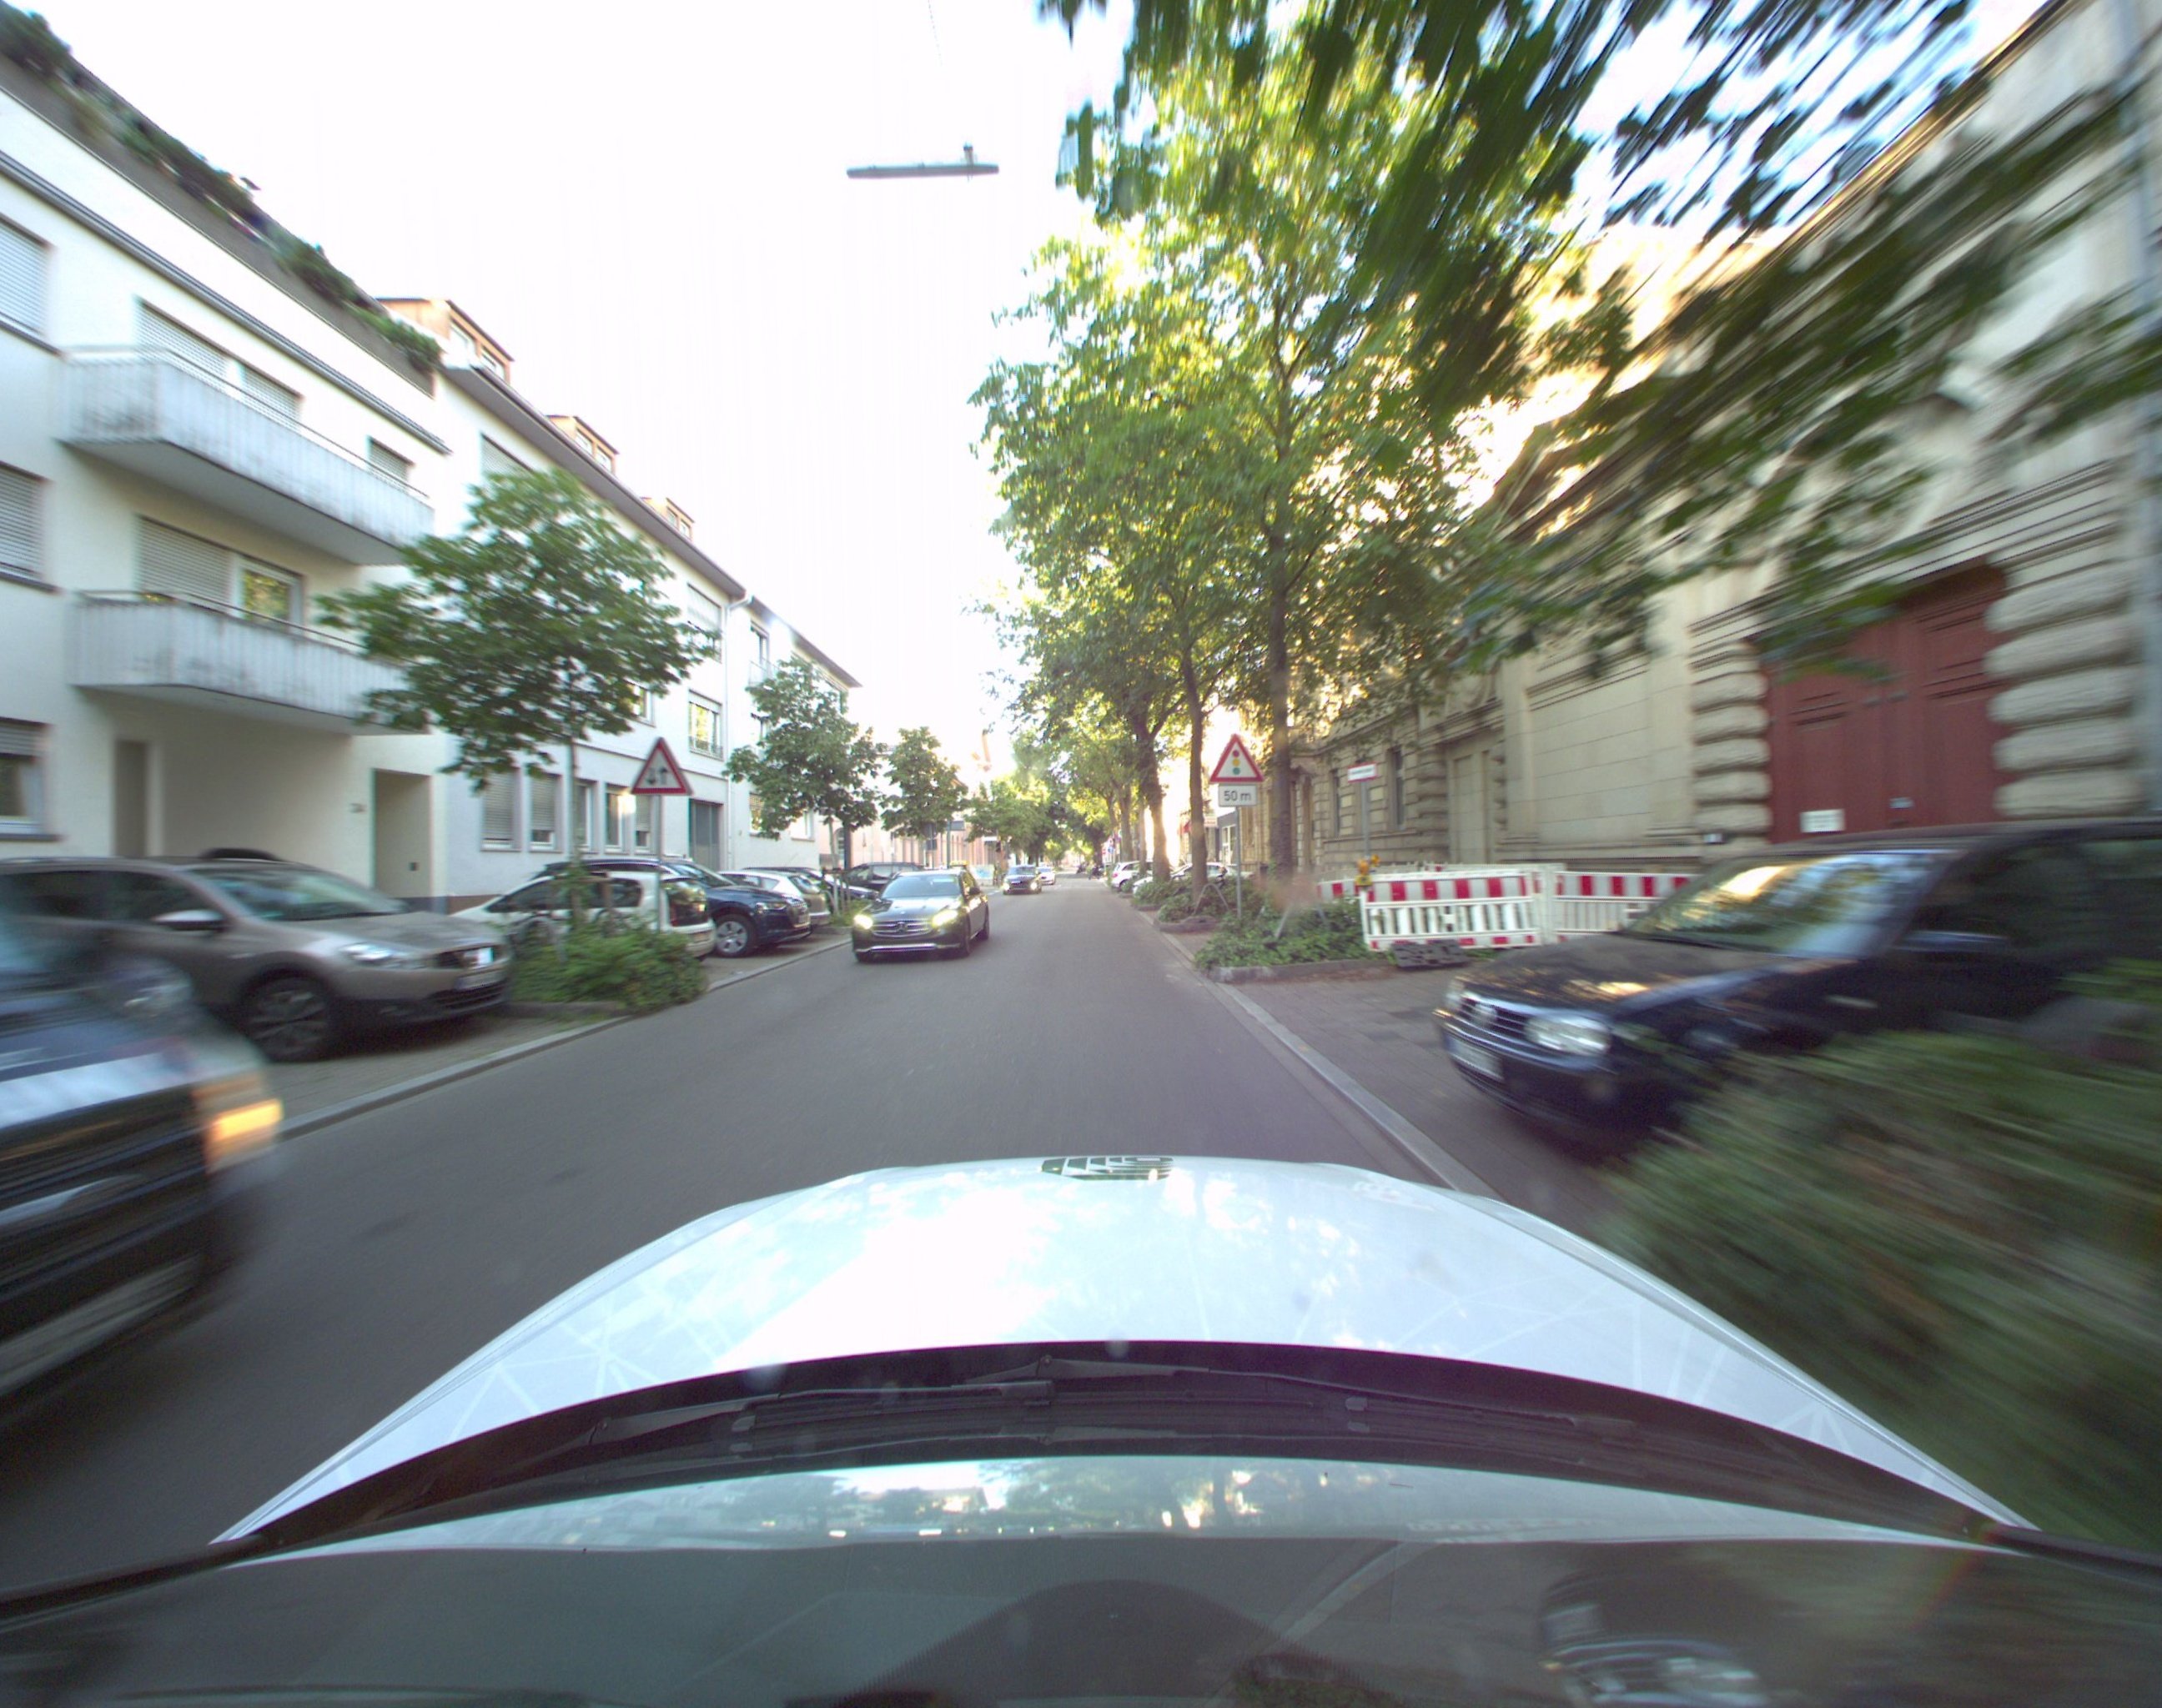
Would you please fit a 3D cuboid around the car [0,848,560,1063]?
[{"bbox_3d":[-7.372,0.803,7.299,4.141,1.591,1.823,2,-1,-1],"label":"car"}]

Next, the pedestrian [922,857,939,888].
[{"bbox_3d":[-8.914,1.115,48.235,0.773,1.791,0.785,1,0,-31],"label":"pedestrian"}]

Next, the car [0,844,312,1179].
[{"bbox_3d":[-7.277,0.705,4.371,4.341,1.573,1.930,2,-1,-1],"label":"car"}]

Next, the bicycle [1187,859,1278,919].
[{"bbox_3d":[3.507,0.803,18.913,2.041,1.360,0.508,0,-1,-3],"label":"bicycle"}]

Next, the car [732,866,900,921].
[{"bbox_3d":[-7.300,1.076,22.724,4.061,1.440,1.755,1,-1,0],"label":"car"}]

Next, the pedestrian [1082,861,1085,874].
[{"bbox_3d":[0.340,2.109,126.214,0.500,2.014,0.621,0,-2,1],"label":"pedestrian"}]

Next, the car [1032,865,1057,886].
[{"bbox_3d":[-2.853,1.666,64.530,1.872,1.549,4.272,-2,-1,-1],"label":"car"}]

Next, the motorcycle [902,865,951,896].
[{"bbox_3d":[-7.546,1.282,39.756,2.130,1.419,0.973,-2,-1,21],"label":"motorcycle"}]

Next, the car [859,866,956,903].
[{"bbox_3d":[-7.301,1.280,34.513,3.731,1.458,1.734,1,-1,-2],"label":"car"}]

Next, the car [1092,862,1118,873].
[{"bbox_3d":[3.709,2.097,127.697,4.004,1.623,1.779,-2,-1,-2],"label":"car"}]

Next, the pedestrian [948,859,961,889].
[{"bbox_3d":[-7.908,1.241,50.945,0.550,1.850,0.614,-1,-1,14],"label":"pedestrian"}]

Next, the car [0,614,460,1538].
[{"bbox_3d":[-4.846,0.523,1.866,4.982,1.990,2.186,-1,0,-5],"label":"car"}]

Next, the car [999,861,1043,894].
[{"bbox_3d":[-3.037,1.179,41.944,1.871,1.549,4.274,-2,-1,0],"label":"car"}]

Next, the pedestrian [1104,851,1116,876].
[{"bbox_3d":[2.469,0.814,69.915,1.040,2.146,1.063,0,-2,0],"label":"pedestrian"}]

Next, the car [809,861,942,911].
[{"bbox_3d":[-7.017,1.079,28.178,4.079,1.632,1.936,0,-1,0],"label":"car"}]

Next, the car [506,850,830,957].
[{"bbox_3d":[-7.173,0.829,14.603,4.652,1.765,2.155,0,-1,-1],"label":"car"}]

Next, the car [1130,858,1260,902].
[{"bbox_3d":[4.145,0.932,30.206,4.567,1.437,1.926,-2,-1,1],"label":"car"}]

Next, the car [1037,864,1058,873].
[{"bbox_3d":[-8.092,3.471,196.675,5.047,2.083,2.263,-2,-1,0],"label":"car"}]

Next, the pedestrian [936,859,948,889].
[{"bbox_3d":[-8.715,1.257,51.082,0.550,1.850,0.614,-1,-1,15],"label":"pedestrian"}]

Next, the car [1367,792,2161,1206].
[{"bbox_3d":[3.946,0.533,4.219,4.211,1.481,1.854,-4,-1,-1],"label":"car"}]

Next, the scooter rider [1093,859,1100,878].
[{"bbox_3d":[1.496,1.394,78.615,0.491,1.791,0.876,-2,-2,9],"label":"scooter rider"}]

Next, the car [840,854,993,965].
[{"bbox_3d":[-2.776,0.874,14.821,1.872,1.641,4.643,-2,-1,-1],"label":"car"}]

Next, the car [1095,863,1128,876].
[{"bbox_3d":[3.926,1.977,106.652,4.180,1.480,1.851,-3,-1,-1],"label":"car"}]

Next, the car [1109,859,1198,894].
[{"bbox_3d":[3.567,1.100,40.473,4.207,1.560,1.972,-2,0,2],"label":"car"}]

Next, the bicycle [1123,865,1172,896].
[{"bbox_3d":[2.913,1.155,35.798,2.022,1.204,0.486,-3,-1,-13],"label":"bicycle"}]

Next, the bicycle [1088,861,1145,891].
[{"bbox_3d":[1.939,1.205,45.142,3.108,1.663,0.657,0,-1,-5],"label":"bicycle"}]

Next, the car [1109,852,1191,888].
[{"bbox_3d":[4.034,0.948,48.093,4.530,1.915,1.948,-2,-1,-3],"label":"car"}]

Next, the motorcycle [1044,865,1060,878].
[{"bbox_3d":[-2.539,1.525,71.128,1.308,1.090,2.396,0,-1,0],"label":"motorcycle"}]

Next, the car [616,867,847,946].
[{"bbox_3d":[-7.180,1.044,17.008,4.012,1.494,1.782,1,-1,3],"label":"car"}]

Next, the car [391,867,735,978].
[{"bbox_3d":[-7.406,0.939,11.962,3.833,1.451,1.854,0,0,-1],"label":"car"}]

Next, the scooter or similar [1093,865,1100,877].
[{"bbox_3d":[1.500,1.661,78.567,0.498,1.145,1.253,-2,-2,10],"label":"scooter or similar"}]
